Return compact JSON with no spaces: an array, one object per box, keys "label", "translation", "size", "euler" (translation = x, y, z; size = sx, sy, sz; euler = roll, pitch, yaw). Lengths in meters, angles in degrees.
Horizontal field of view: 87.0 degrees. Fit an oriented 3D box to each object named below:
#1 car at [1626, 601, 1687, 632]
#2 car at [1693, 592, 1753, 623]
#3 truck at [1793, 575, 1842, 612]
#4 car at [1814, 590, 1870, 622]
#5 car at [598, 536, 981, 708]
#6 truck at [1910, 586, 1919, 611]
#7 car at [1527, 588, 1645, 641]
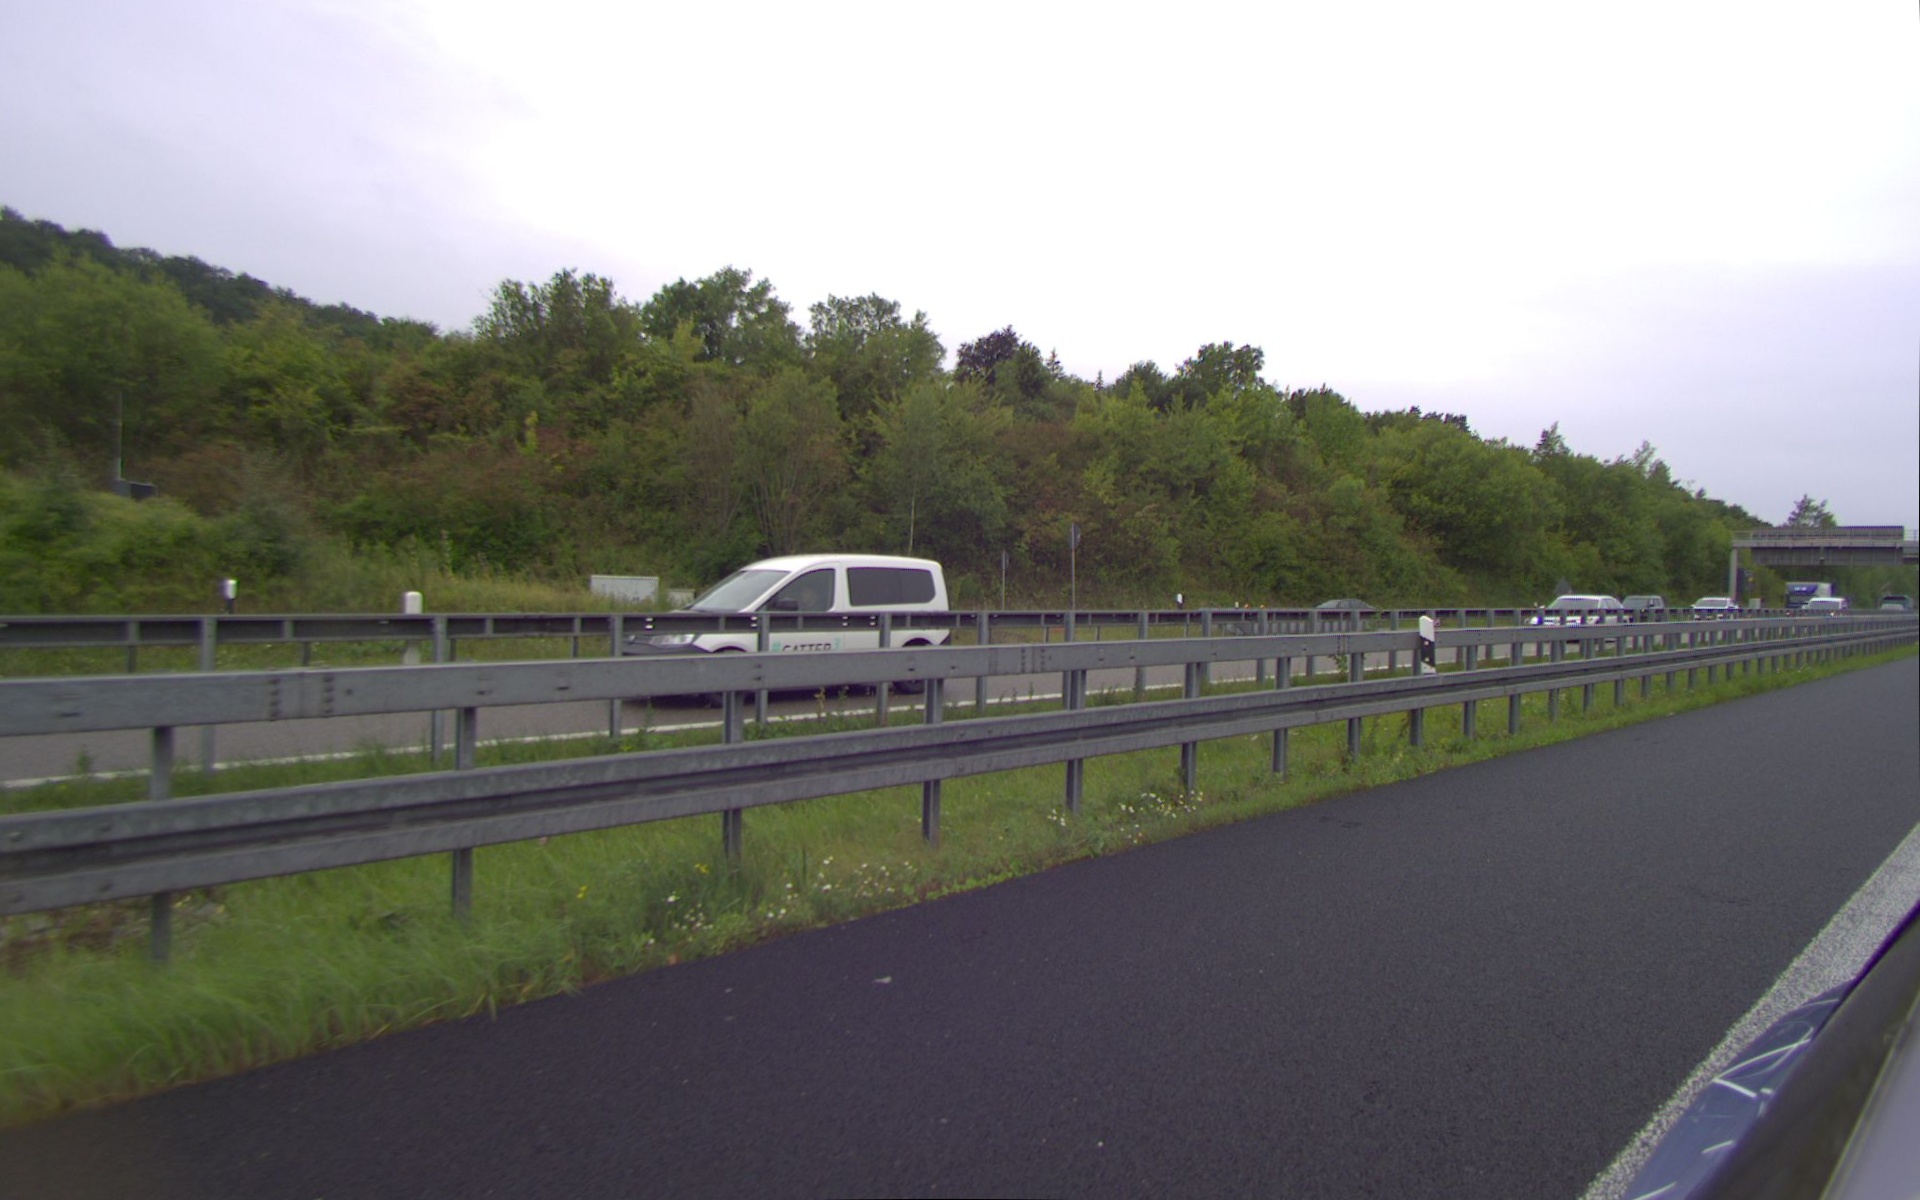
[{"label":"car","translation":[42.931,0.984,62.385],"size":[4.560,1.757,1.997],"euler":[0,1,-40]},{"label":"car","translation":[42.738,0.390,56.691],"size":[4.074,1.633,1.899],"euler":[0,1,-41]},{"label":"truck","translation":[84.018,-0.632,99.103],"size":[9.131,3.460,2.903],"euler":[0,1,-45]},{"label":"car","translation":[52.824,0.336,60.583],"size":[4.202,1.837,2.011],"euler":[0,1,-41]},{"label":"car","translation":[-2.022,0.211,12.954],"size":[4.568,1.828,1.863],"euler":[0,1,-42]},{"label":"truck","translation":[136.758,-0.263,143.008],"size":[13.130,3.460,2.904],"euler":[0,1,-43]},{"label":"car","translation":[20.111,0.404,32.444],"size":[4.615,1.567,2.011],"euler":[0,1,-42]}]
